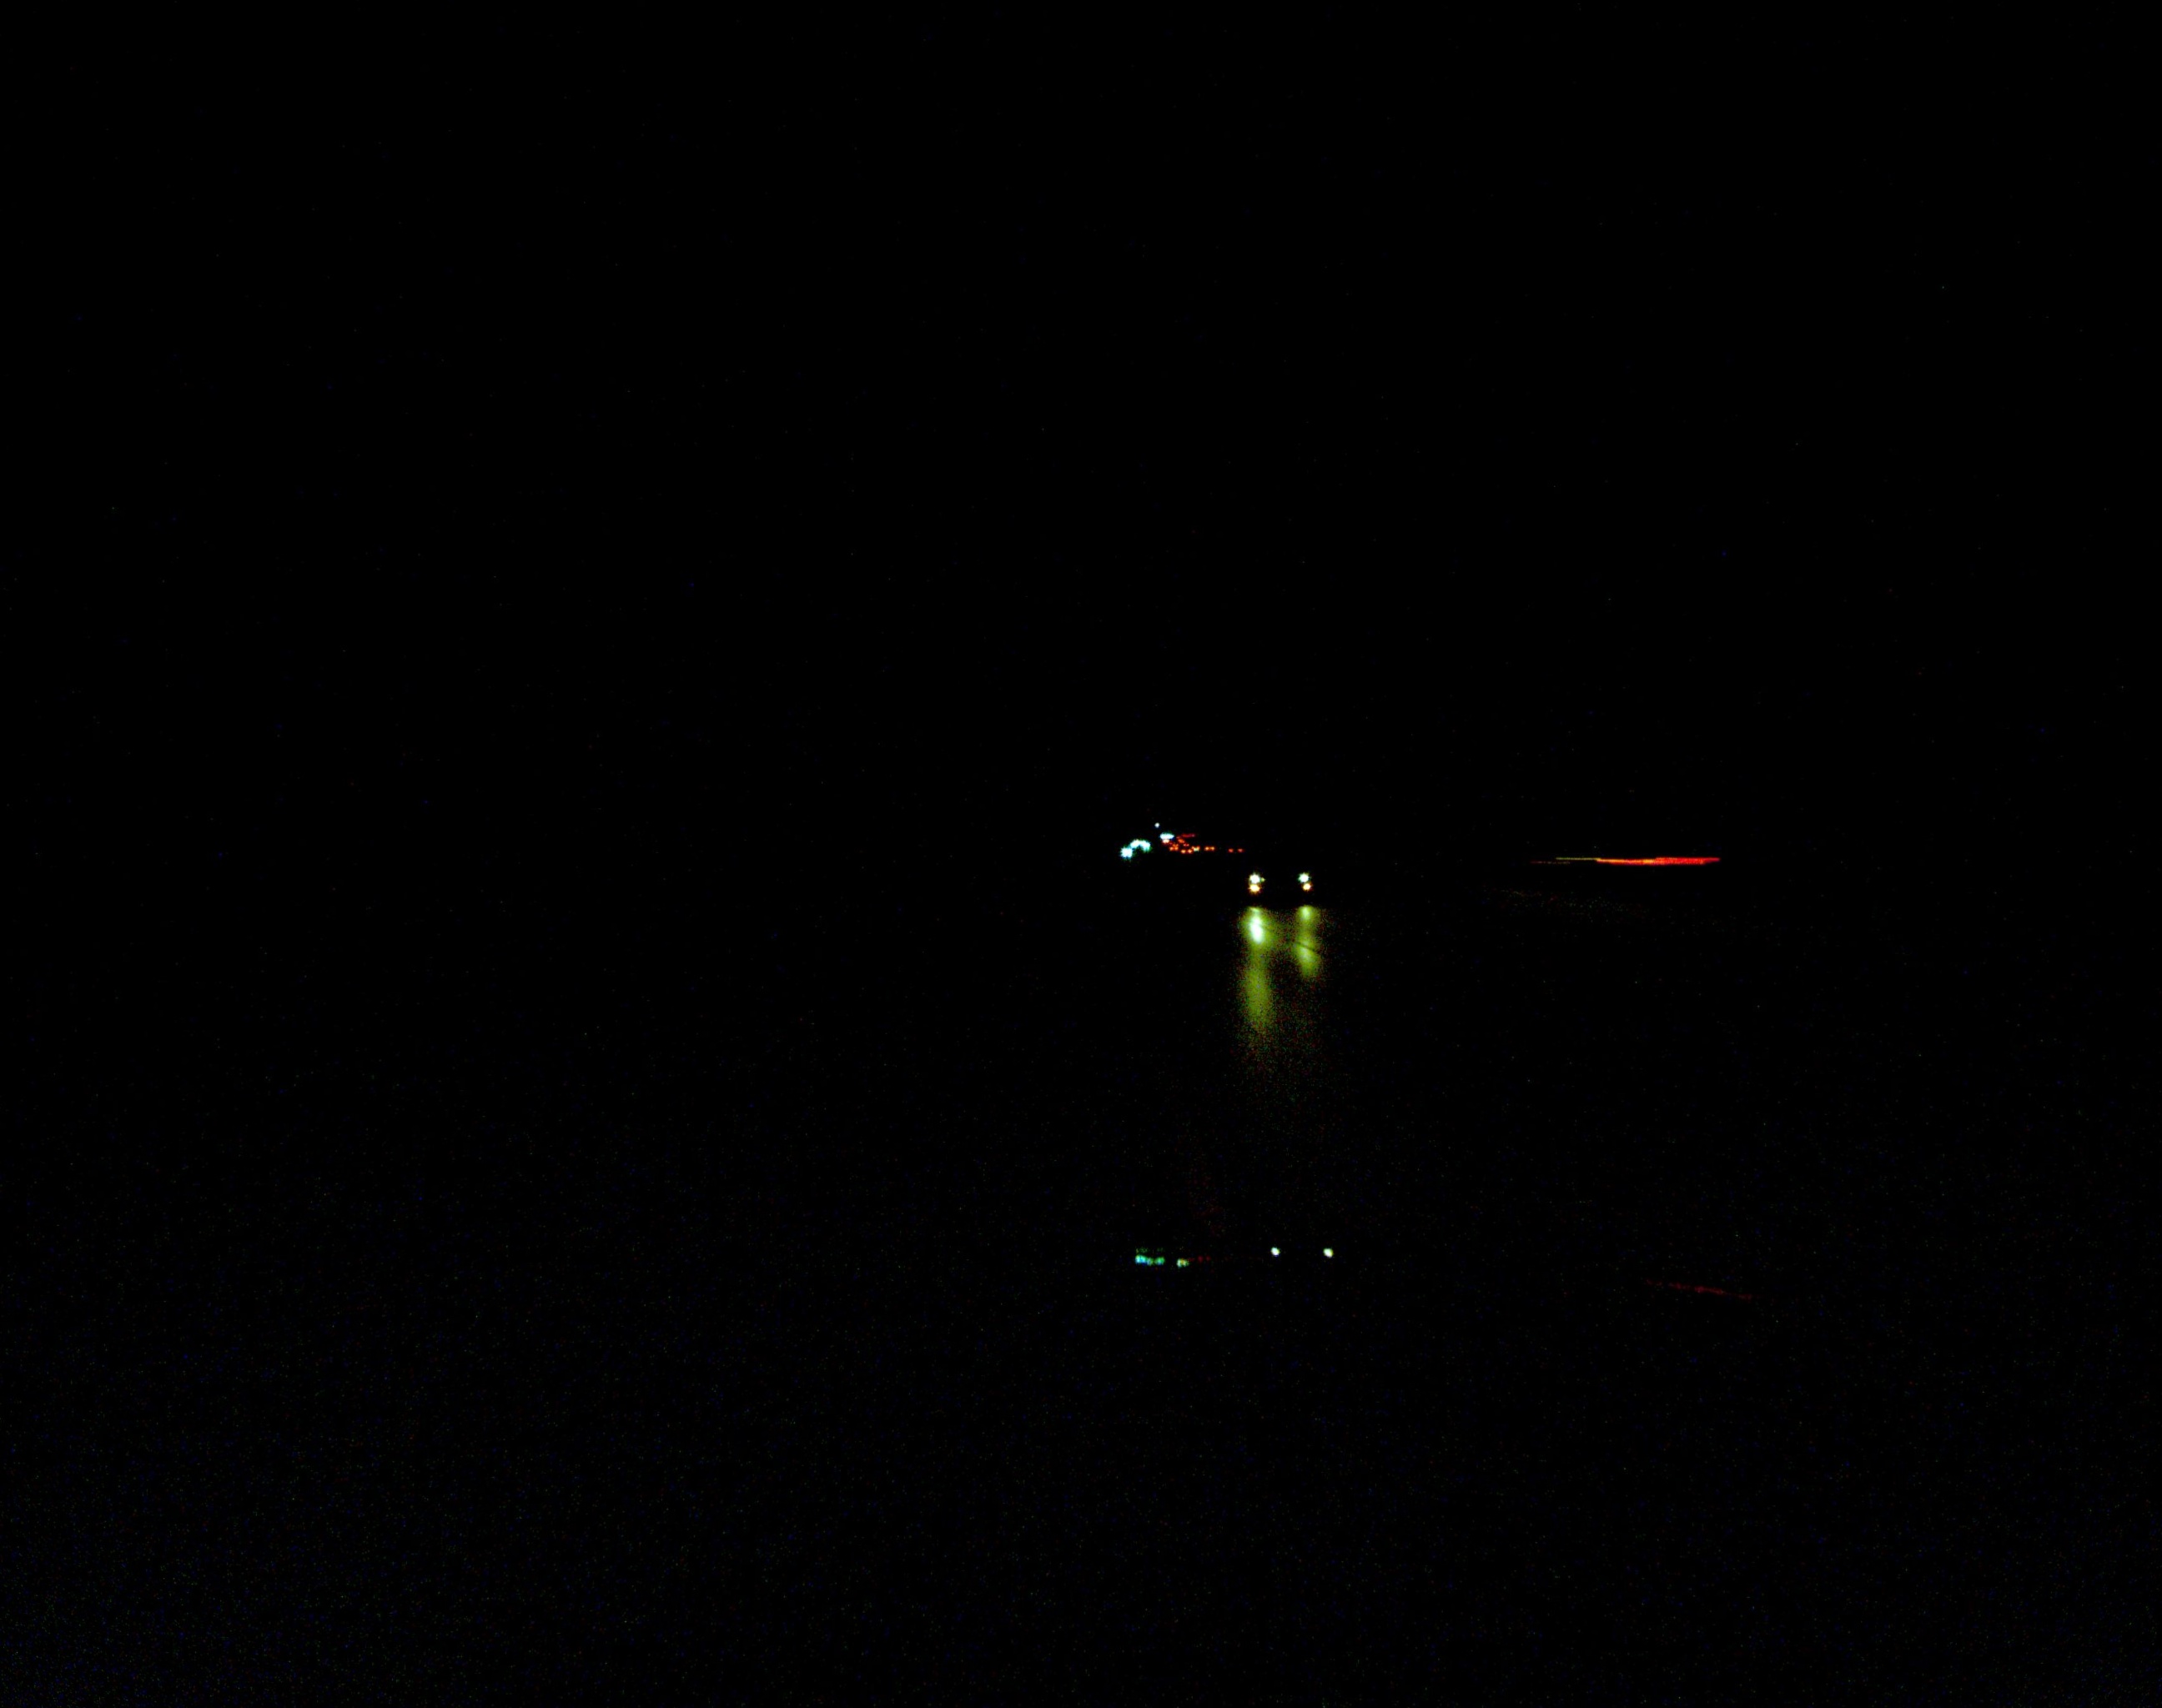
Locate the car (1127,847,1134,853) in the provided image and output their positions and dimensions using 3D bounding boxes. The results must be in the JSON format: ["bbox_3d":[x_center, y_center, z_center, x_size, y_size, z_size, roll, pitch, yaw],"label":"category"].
[{"bbox_3d":[14.204,-1.215,217.589,1.998,1.653,4.000,-2,1,2],"label":"car"}]

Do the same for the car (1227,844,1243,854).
[{"bbox_3d":[27.419,-0.902,135.437,2.058,1.771,5.941,-2,1,3],"label":"car"}]

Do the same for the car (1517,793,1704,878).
[{"bbox_3d":[22.231,-0.673,32.615,2.657,3.067,8.217,-2,0,4],"label":"car"}]

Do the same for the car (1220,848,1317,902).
[{"bbox_3d":[5.967,0.674,24.915,1.998,1.509,5.653,-2,-1,3],"label":"car"}]

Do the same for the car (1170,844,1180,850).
[{"bbox_3d":[25.829,-1.892,209.007,2.123,1.547,5.109,-2,1,3],"label":"car"}]

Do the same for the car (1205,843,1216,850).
[{"bbox_3d":[32.126,-1.871,188.333,2.123,1.547,5.109,-2,1,3],"label":"car"}]

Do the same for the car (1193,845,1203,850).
[{"bbox_3d":[34.382,-1.911,223.603,2.188,1.472,5.243,-3,1,3],"label":"car"}]

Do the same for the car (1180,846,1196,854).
[{"bbox_3d":[21.641,-0.797,153.826,2.565,1.547,5.109,-2,1,3],"label":"car"}]
